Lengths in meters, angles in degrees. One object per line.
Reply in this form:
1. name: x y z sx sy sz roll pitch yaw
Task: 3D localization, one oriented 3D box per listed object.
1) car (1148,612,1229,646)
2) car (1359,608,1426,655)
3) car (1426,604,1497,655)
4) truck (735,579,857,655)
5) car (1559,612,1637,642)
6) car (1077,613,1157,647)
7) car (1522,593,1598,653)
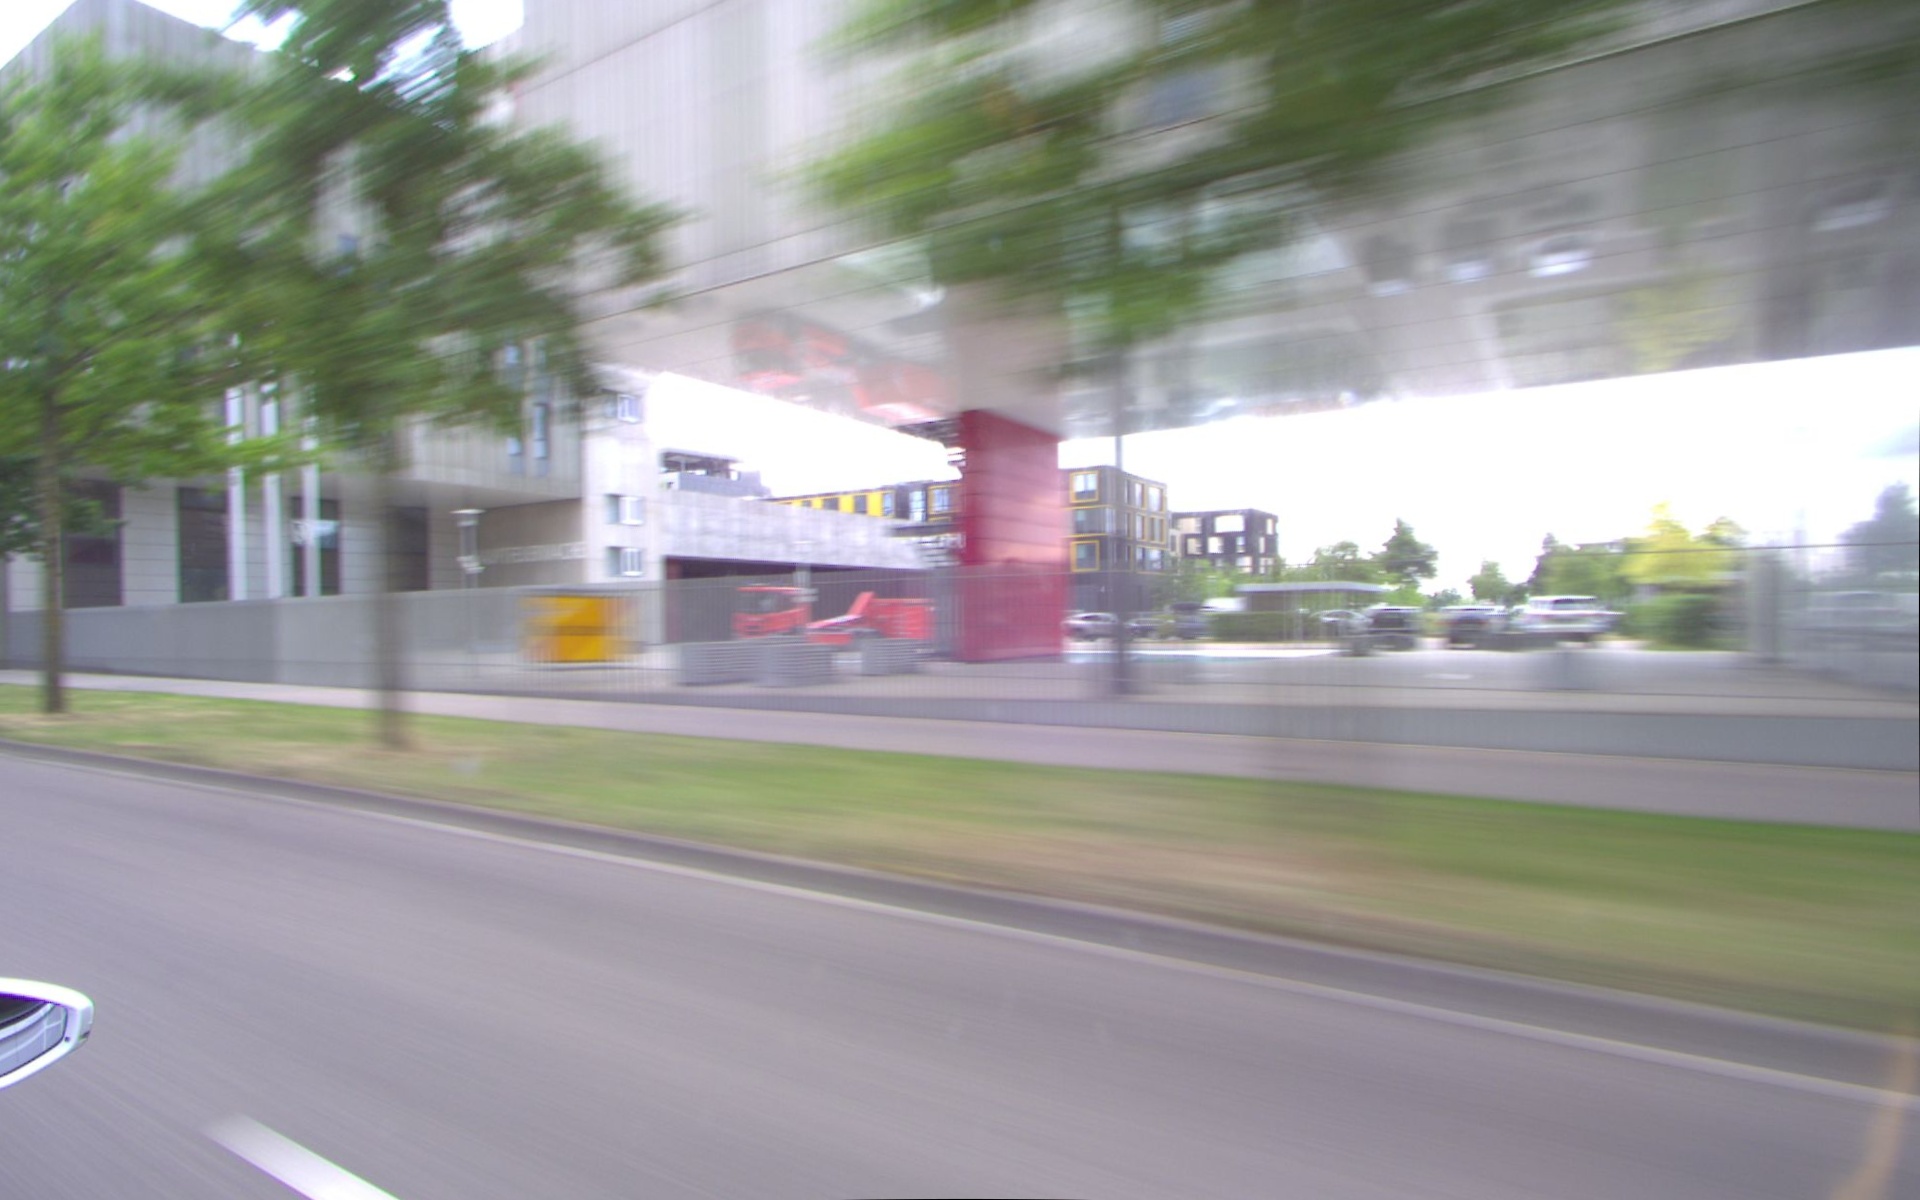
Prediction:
1. car: 13.649 1.778 59.883 4.255 1.895 1.990 -3 -3 33
2. car: 15.374 1.154 35.521 1.646 1.572 3.300 -3 -3 32
3. car: 17.202 1.036 34.259 1.845 1.610 3.655 -2 -3 31
4. truck: -7.159 0.868 44.416 2.285 3.107 5.687 -2 -3 30
5. car: 36.284 1.561 57.005 3.621 1.610 1.862 -3 -3 33
6. car: 9.334 1.836 59.613 4.255 1.895 1.990 -3 -3 33
7. car: 19.791 0.822 33.046 1.971 1.824 4.294 -2 -3 31
